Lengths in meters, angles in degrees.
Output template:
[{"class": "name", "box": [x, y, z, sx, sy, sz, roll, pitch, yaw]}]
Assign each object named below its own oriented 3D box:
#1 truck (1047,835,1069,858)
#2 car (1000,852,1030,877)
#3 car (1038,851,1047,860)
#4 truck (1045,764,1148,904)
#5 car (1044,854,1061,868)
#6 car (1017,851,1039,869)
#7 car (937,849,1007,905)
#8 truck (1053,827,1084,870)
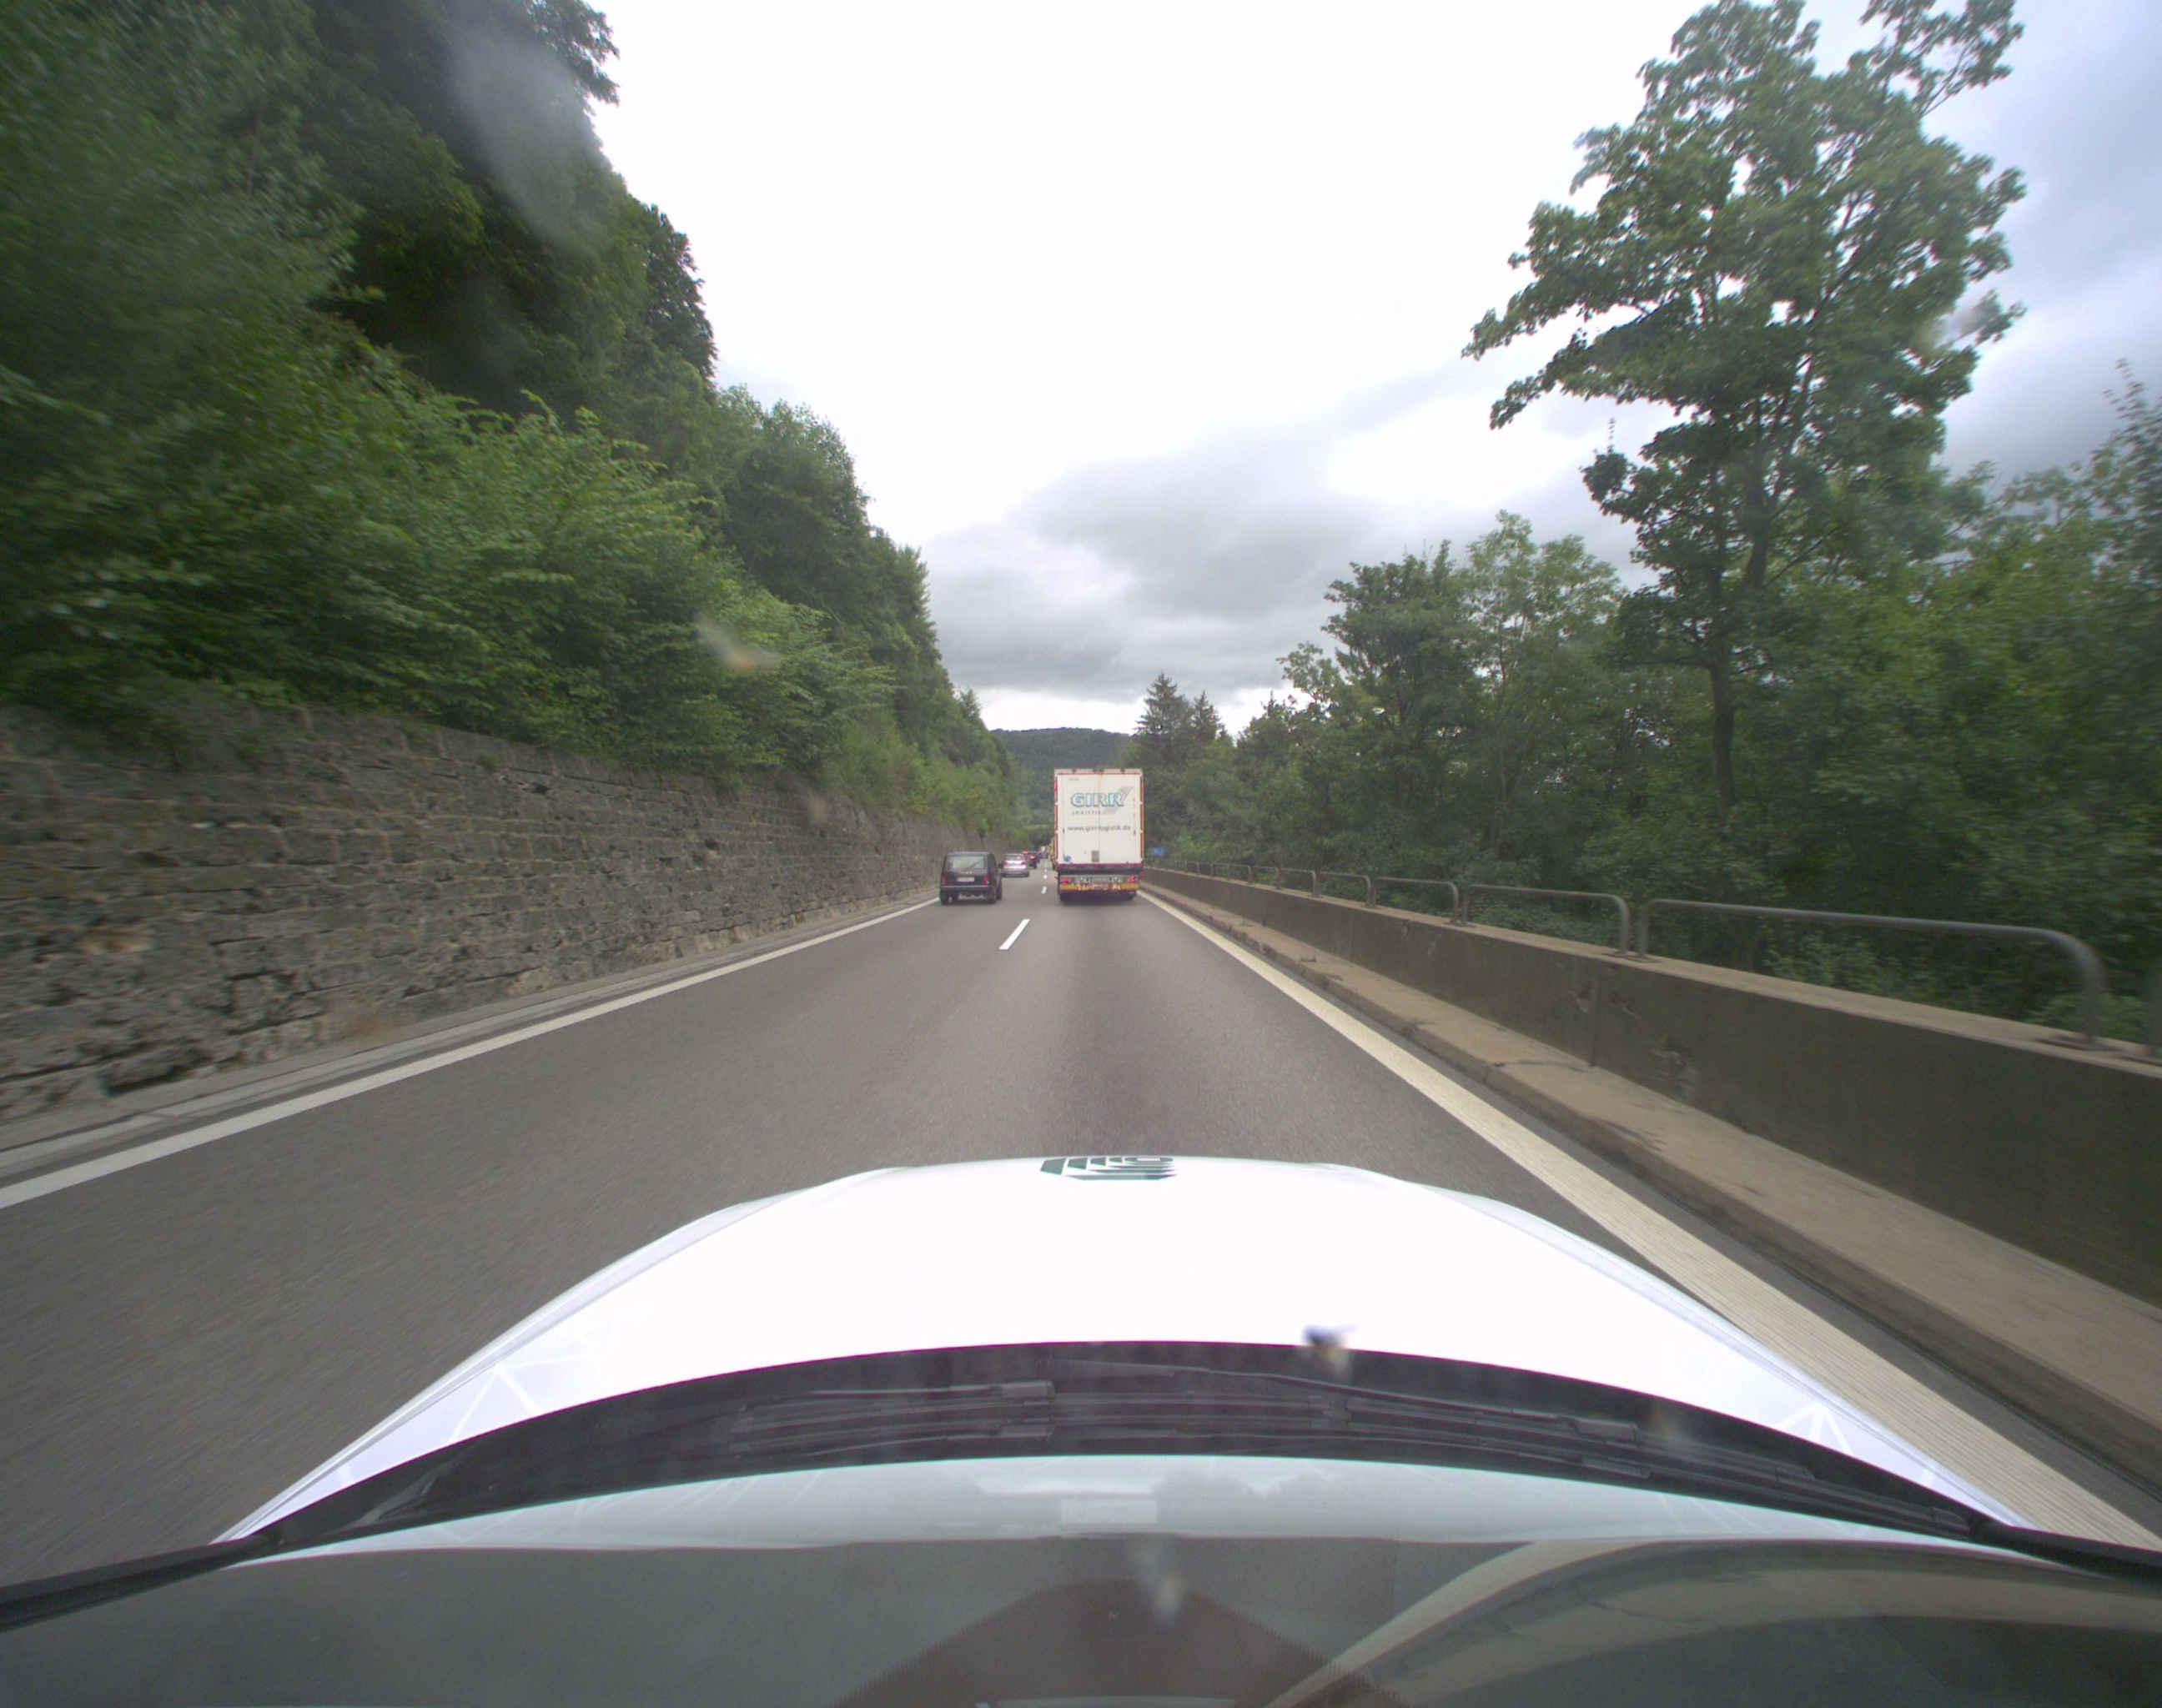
[{"class": "truck", "box": [-3.950, -1.248, 142.202, 3.499, 3.847, 11.774, 0, -1, 0]}, {"class": "car", "box": [-4.149, 0.649, 51.668, 1.725, 1.486, 3.996, 0, 0, -2]}, {"class": "car", "box": [-8.489, 0.336, 179.578, 1.988, 2.014, 3.998, 0, -1, -1]}, {"class": "truck", "box": [0.499, -0.564, 27.769, 2.899, 3.960, 9.279, 0, 0, 1]}, {"class": "car", "box": [-4.115, 1.098, 119.420, 1.984, 2.014, 4.006, 0, -1, 6]}, {"class": "car", "box": [-4.890, 0.552, 75.298, 1.912, 1.595, 4.175, 0, 0, -2]}, {"class": "car", "box": [-3.410, 0.692, 26.091, 1.663, 1.639, 4.068, 0, 0, 0]}, {"class": "truck", "box": [-1.178, -0.432, 71.784, 2.480, 3.571, 9.298, 0, 0, -3]}]
